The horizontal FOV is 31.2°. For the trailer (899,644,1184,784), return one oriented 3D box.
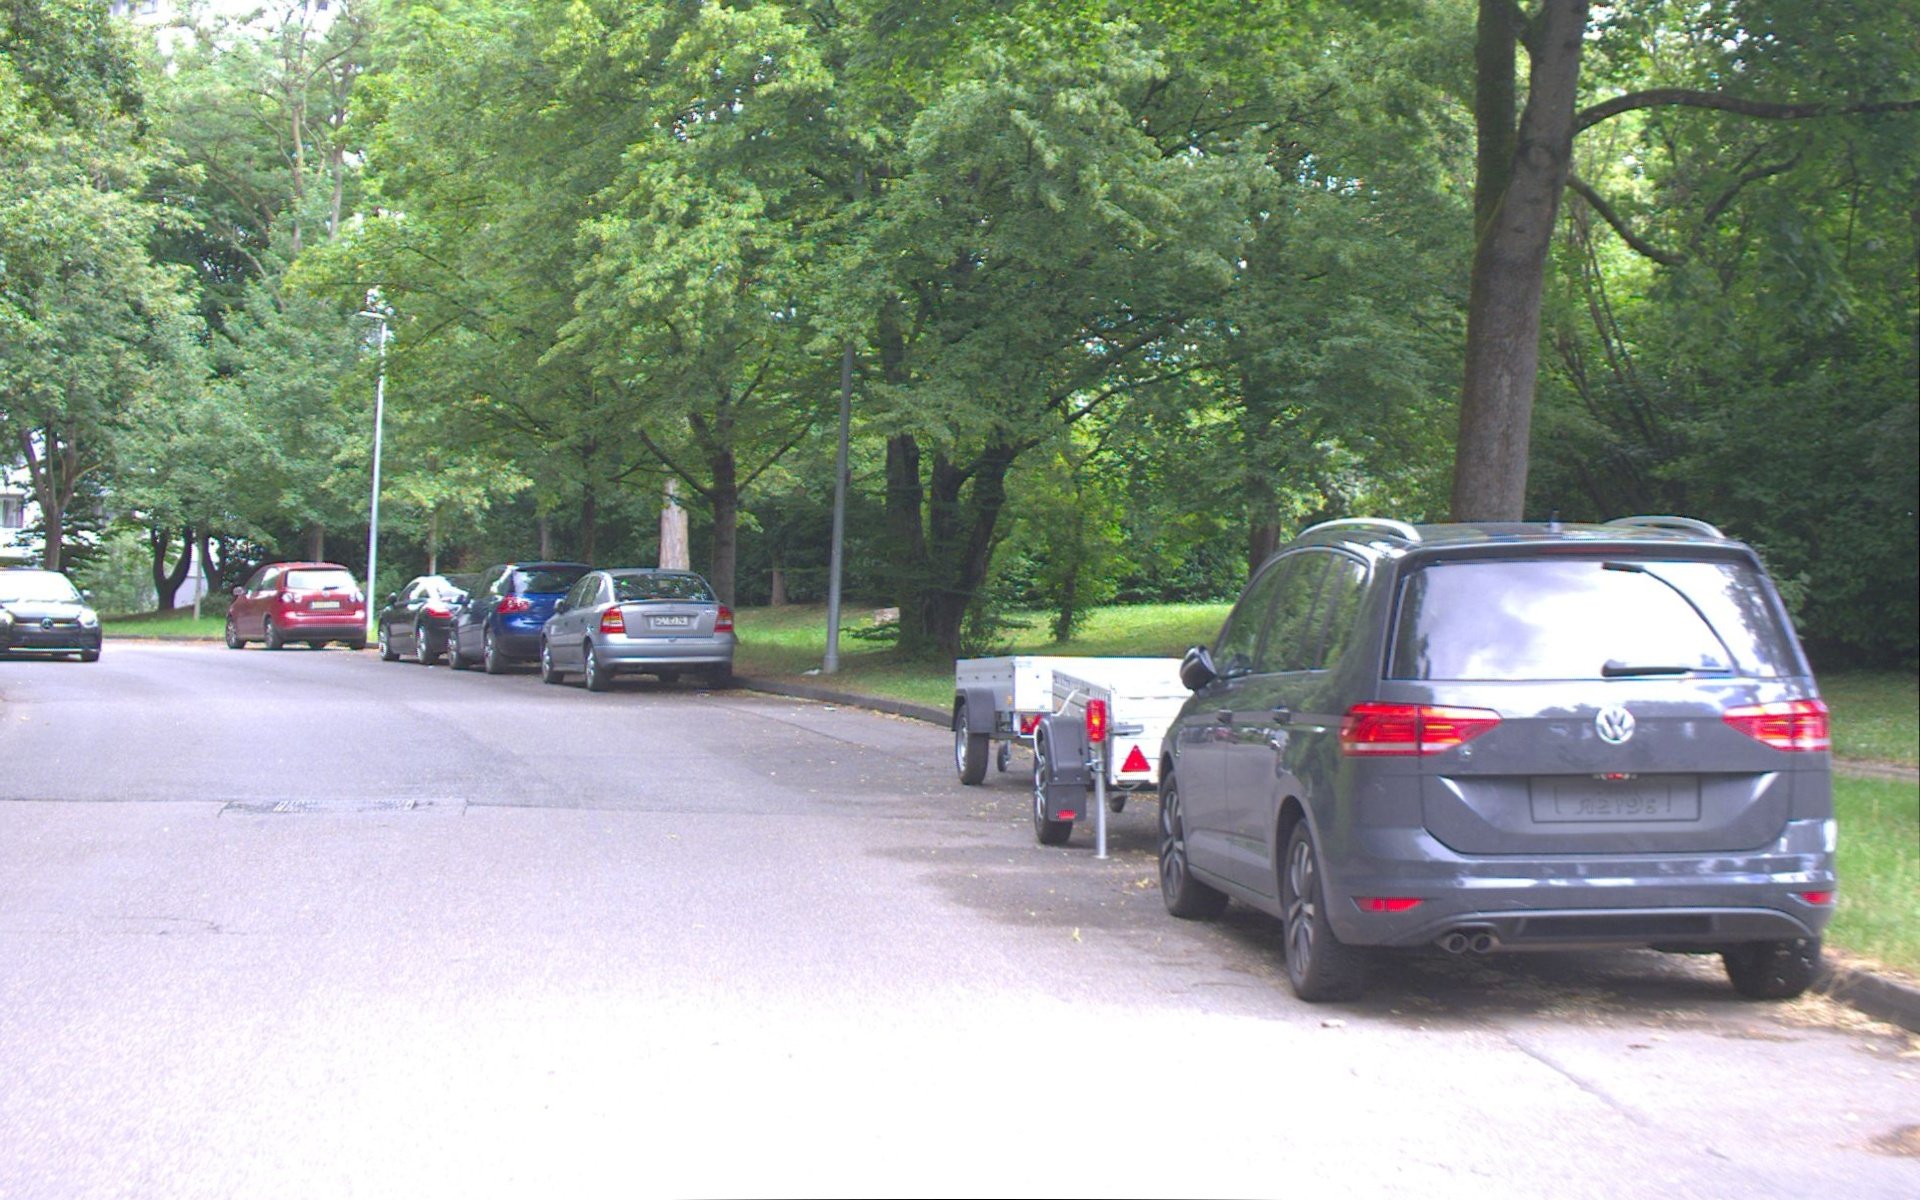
[{"bbox_3d":[0.505,0.762,23.890,1.363,0.845,3.279,2,-1,-9],"label":"trailer"}]

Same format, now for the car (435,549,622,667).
[{"bbox_3d":[-6.033,0.106,47.692,1.713,1.504,4.182,2,-1,-19],"label":"car"}]

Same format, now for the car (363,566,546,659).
[{"bbox_3d":[-7.716,0.182,52.161,1.750,1.332,4.416,1,0,-22],"label":"car"}]

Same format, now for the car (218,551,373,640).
[{"bbox_3d":[-12.053,-0.073,62.212,1.738,1.557,4.000,0,0,-26],"label":"car"}]

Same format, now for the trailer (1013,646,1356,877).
[{"bbox_3d":[1.157,0.836,19.133,1.357,0.965,3.893,2,1,-4],"label":"trailer"}]

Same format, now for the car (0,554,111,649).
[{"bbox_3d":[-14.811,0.021,54.605,1.790,1.384,4.492,3,-1,-23],"label":"car"}]

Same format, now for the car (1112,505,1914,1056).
[{"bbox_3d":[1.832,0.547,13.061,1.775,1.657,4.841,2,0,-6],"label":"car"}]

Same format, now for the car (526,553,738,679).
[{"bbox_3d":[-3.984,0.182,41.271,1.717,1.427,3.950,0,0,-18],"label":"car"}]
